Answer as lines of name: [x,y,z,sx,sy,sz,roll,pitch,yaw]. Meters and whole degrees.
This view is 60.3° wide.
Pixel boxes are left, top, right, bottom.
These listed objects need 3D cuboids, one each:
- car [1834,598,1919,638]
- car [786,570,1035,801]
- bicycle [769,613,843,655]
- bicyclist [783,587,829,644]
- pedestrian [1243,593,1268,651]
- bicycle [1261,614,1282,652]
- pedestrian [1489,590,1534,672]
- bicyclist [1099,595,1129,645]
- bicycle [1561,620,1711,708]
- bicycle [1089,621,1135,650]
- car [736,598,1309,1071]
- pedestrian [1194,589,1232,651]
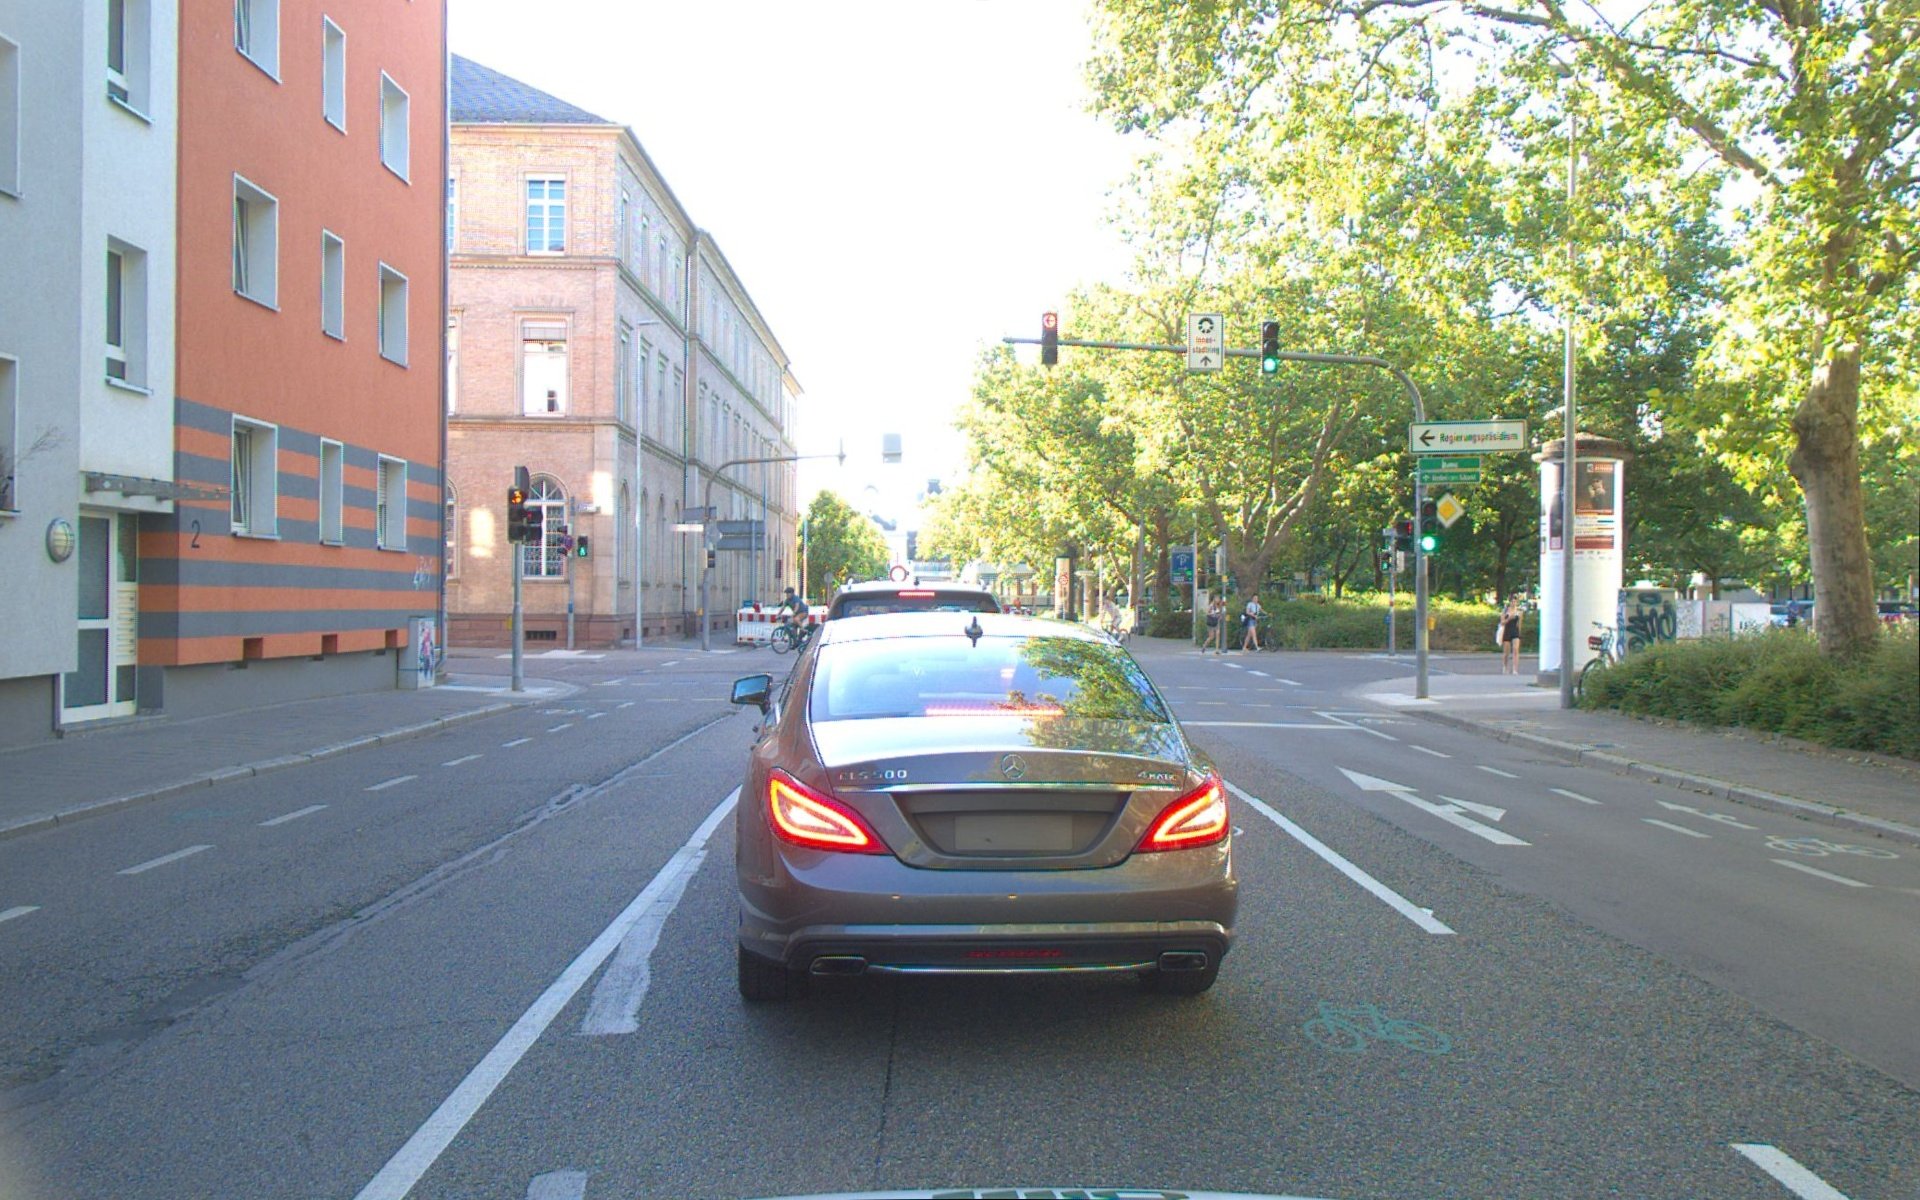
car: [36.269,0.701,65.143,1.596,1.508,3.794,1,0,-2]
car: [-0.324,0.616,13.736,1.772,1.641,4.000,0,0,1]
bicycle: [-4.146,0.914,44.631,1.946,1.081,0.695,1,-1,-42]
bicyclist: [-4.159,0.411,44.636,0.944,1.526,0.810,1,-1,-41]
pedestrian: [8.888,0.664,49.669,0.668,1.727,0.971,1,-1,13]
bicycle: [9.332,0.969,49.567,0.513,1.119,1.742,1,0,14]
pedestrian: [11.286,0.627,33.883,0.781,1.659,0.908,1,-1,14]
bicyclist: [4.974,0.643,53.451,0.637,1.586,0.803,1,-1,37]
bicycle: [9.699,0.911,23.756,1.936,1.210,0.528,1,-1,-2]
bicycle: [4.922,1.154,53.357,0.539,0.906,1.859,1,-1,38]
car: [-0.035,0.743,7.452,1.808,1.454,4.511,1,0,-7]
pedestrian: [7.596,0.599,49.638,0.724,1.840,0.900,0,-2,-30]
